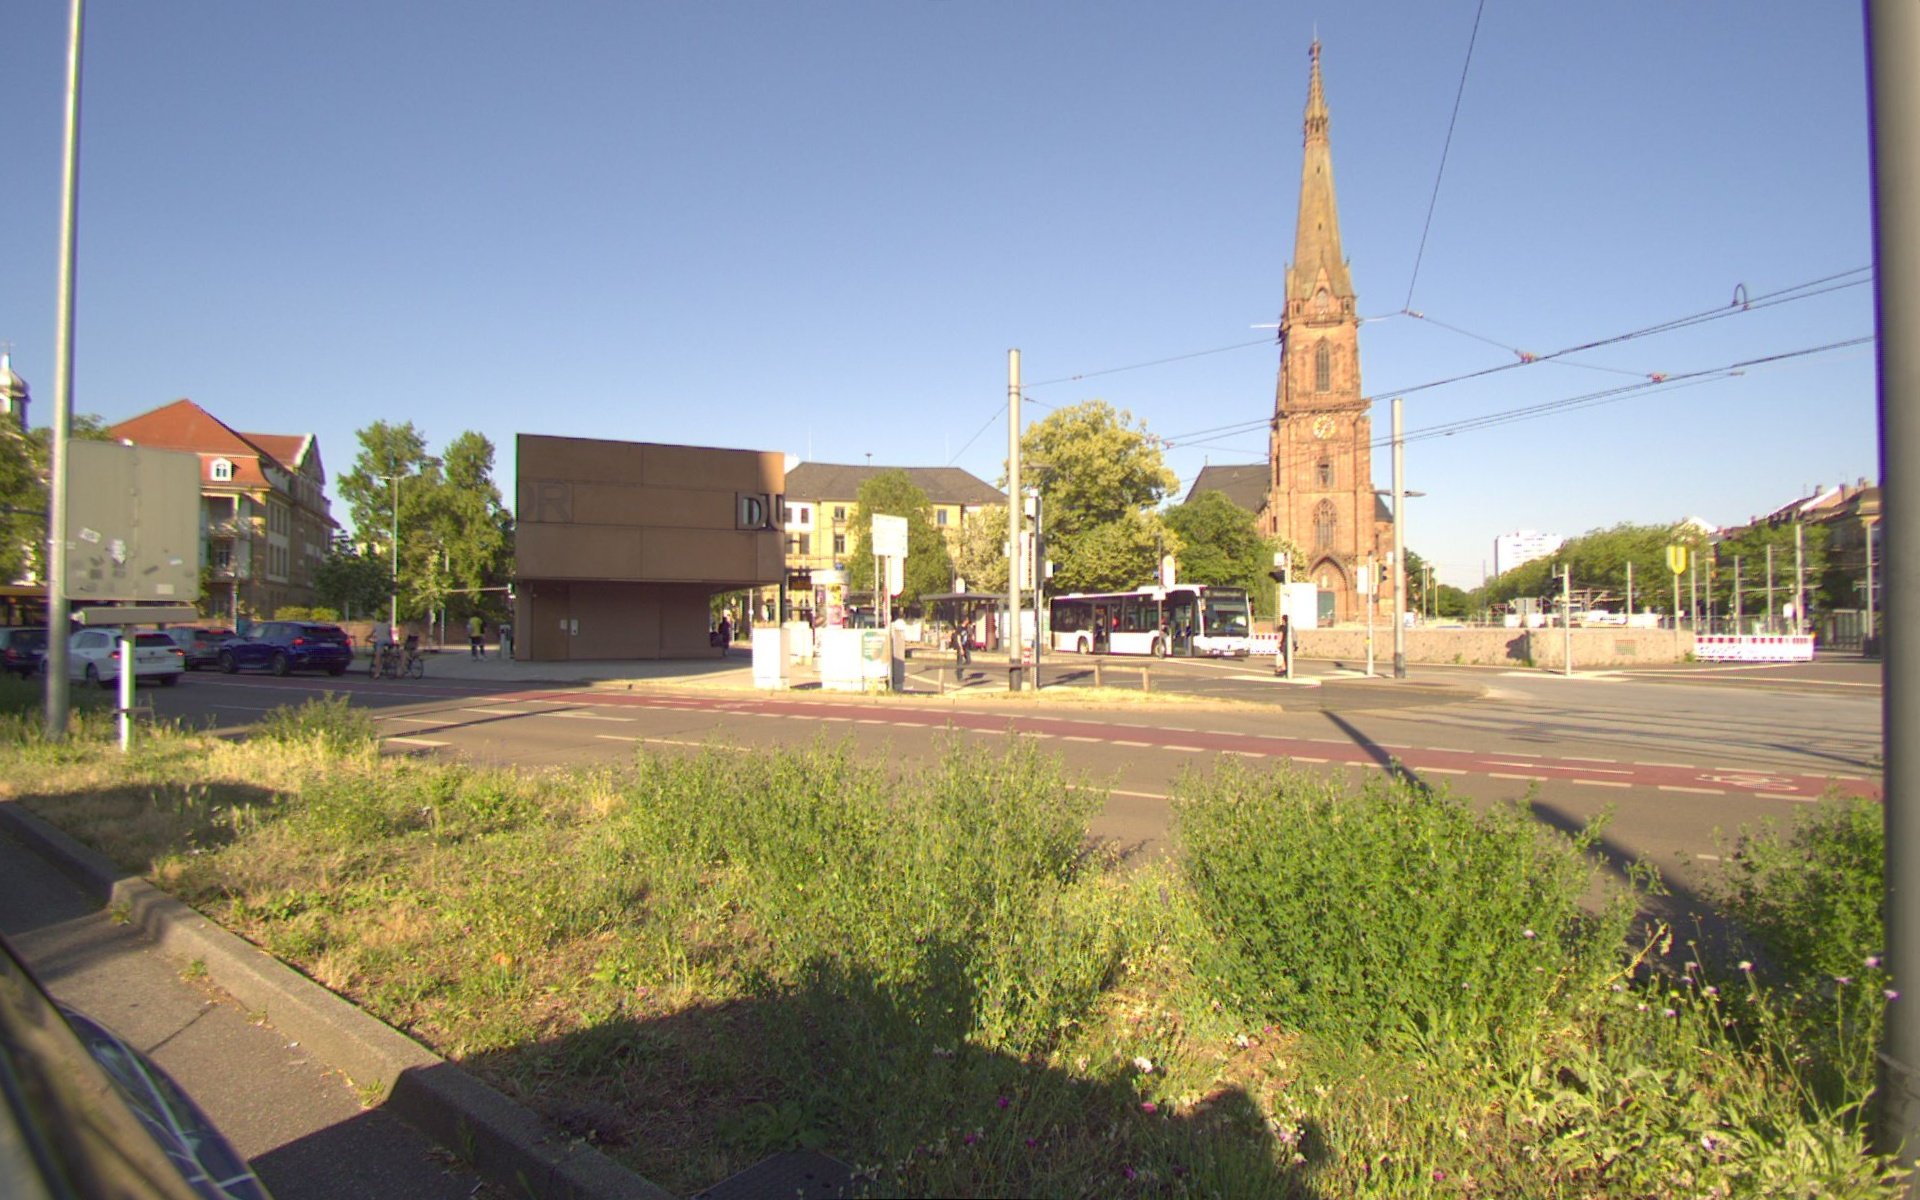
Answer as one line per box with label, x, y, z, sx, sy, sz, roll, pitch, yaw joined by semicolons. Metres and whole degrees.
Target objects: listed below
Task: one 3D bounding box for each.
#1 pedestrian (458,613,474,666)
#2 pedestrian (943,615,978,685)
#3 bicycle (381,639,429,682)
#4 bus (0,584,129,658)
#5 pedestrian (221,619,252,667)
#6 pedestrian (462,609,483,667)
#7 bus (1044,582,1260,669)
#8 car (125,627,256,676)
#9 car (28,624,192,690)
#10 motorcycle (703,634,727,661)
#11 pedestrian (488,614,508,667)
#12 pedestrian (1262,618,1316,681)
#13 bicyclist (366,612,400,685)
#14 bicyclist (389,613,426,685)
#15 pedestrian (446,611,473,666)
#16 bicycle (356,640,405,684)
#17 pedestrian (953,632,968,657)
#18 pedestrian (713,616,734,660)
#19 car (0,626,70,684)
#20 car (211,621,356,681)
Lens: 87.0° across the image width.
pedestrian;-19.322;1.522;39.582;0.460;2.029;0.658;-1;0;-32
pedestrian;0.006;1.280;26.366;0.702;1.771;0.584;-1;0;-30
bicycle;-16.028;1.742;29.226;1.388;1.201;0.461;-1;0;24
bus;-44.508;0.952;44.139;3.080;3.236;12.396;-1;0;35
pedestrian;-29.439;1.736;41.191;0.787;1.911;0.612;0;-2;-9
pedestrian;-17.542;1.357;36.403;0.645;2.029;0.470;-1;0;-29
bus;7.677;0.967;43.338;2.655;3.174;12.216;-1;0;-23
car;-25.213;1.656;33.143;4.375;1.503;1.831;-1;-4;30
car;-21.457;1.372;25.514;4.375;1.503;1.831;-1;0;30
motorcycle;-10.185;1.959;42.053;0.935;1.075;0.331;-1;0;-11
pedestrian;-18.059;1.582;39.571;0.645;2.029;0.470;-1;0;-29
pedestrian;9.242;1.358;28.445;1.025;1.696;1.007;-1;0;-25
bicyclist;-16.276;1.354;28.543;0.562;2.029;0.605;-1;-2;25
bicyclist;-15.930;1.397;29.174;0.705;2.029;0.605;-1;-2;25
pedestrian;-18.947;1.448;38.304;0.765;2.029;0.775;-1;0;-37
bicycle;-16.365;1.746;28.560;1.388;1.201;0.461;-1;0;24
pedestrian;0.026;2.193;49.984;0.531;1.196;0.660;-1;0;-21
pedestrian;-10.958;1.746;46.913;0.762;2.029;0.778;-1;0;-2
car;-26.879;1.505;28.545;4.179;1.471;1.736;-1;0;35
car;-20.145;1.472;30.123;4.166;1.703;1.741;-1;-1;26
